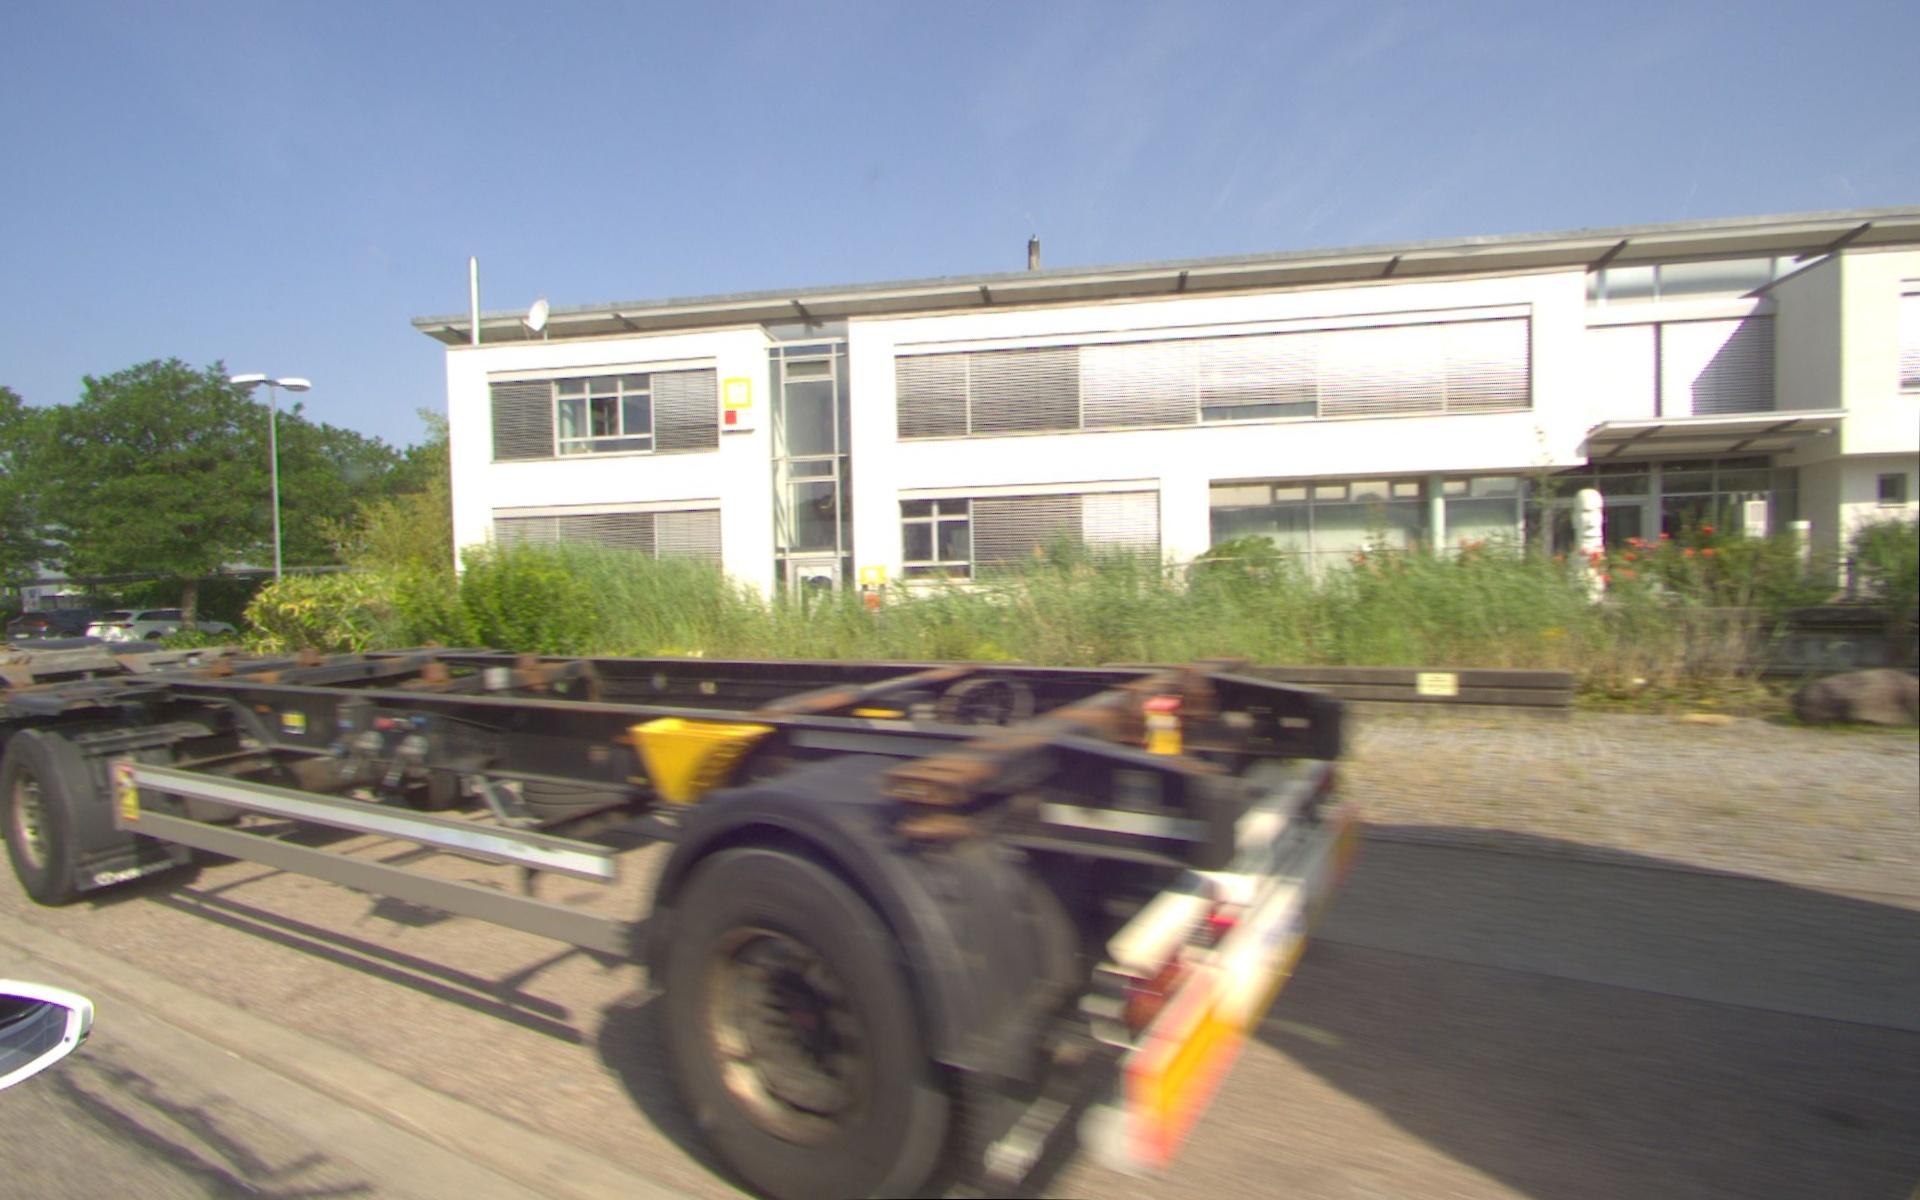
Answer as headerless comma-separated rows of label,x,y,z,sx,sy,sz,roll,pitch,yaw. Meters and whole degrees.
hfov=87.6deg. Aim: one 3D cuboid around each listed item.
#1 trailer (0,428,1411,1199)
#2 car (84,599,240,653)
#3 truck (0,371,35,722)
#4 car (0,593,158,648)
trailer,-5.718,0.588,6.944,15.938,1.596,2.739,-1,3,32
car,-27.396,0.909,34.556,1.732,1.723,4.087,-1,-2,10
truck,-13.370,-0.506,11.554,3.942,4.037,2.738,-1,4,31
car,-30.609,0.742,34.961,1.961,1.790,4.002,-1,-2,0
